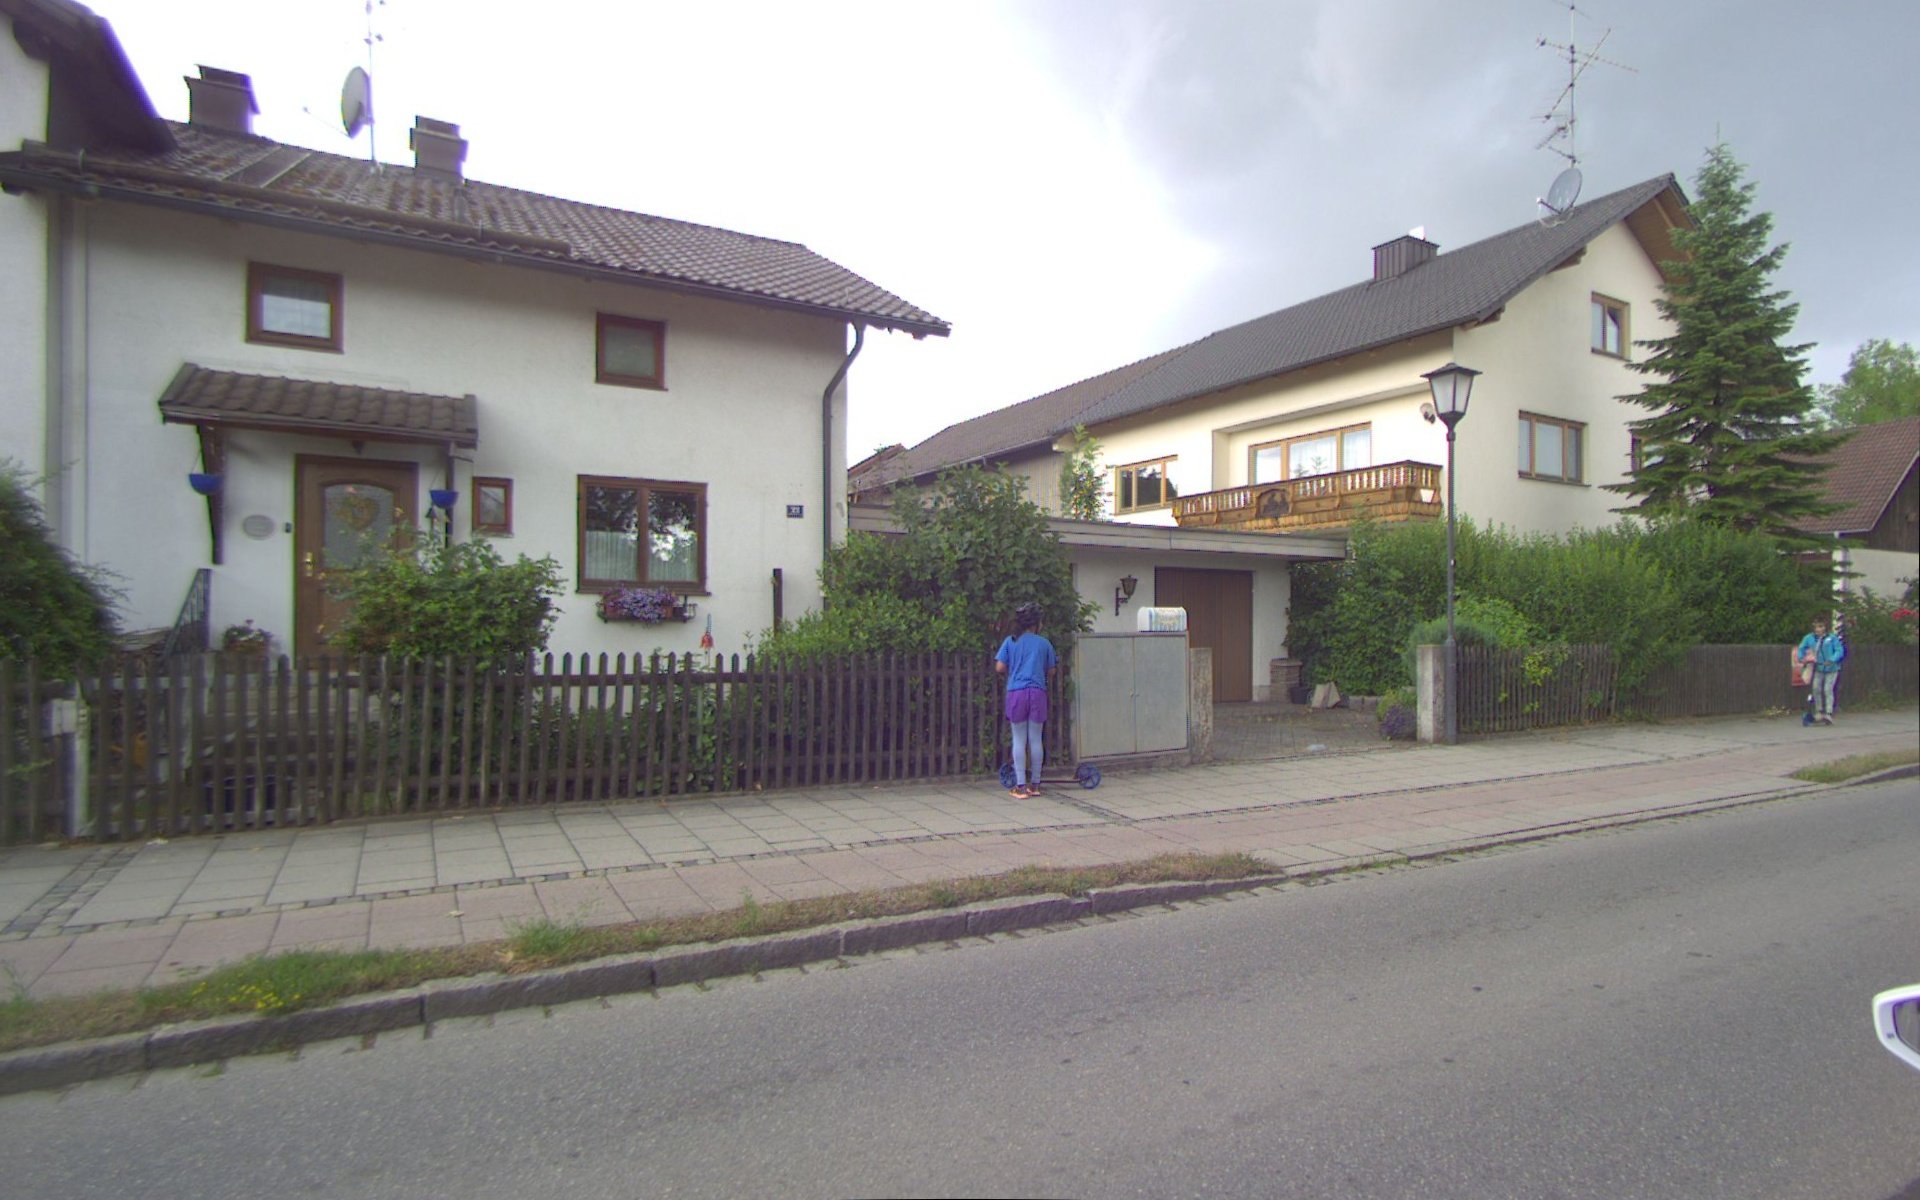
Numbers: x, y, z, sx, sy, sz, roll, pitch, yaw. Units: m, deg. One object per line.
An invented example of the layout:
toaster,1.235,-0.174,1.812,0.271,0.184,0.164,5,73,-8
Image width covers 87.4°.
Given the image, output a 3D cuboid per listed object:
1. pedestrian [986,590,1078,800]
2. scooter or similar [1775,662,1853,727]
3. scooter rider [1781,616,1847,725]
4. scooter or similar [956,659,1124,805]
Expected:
pedestrian,0.553,0.706,7.770,0.482,1.549,0.530,1,0,-30
scooter or similar,12.231,1.332,14.379,1.049,0.861,0.519,1,-1,-29
scooter rider,12.235,0.996,14.386,0.707,1.509,0.500,1,0,-29
scooter or similar,0.638,1.013,8.024,1.164,1.051,0.658,1,-1,-29
